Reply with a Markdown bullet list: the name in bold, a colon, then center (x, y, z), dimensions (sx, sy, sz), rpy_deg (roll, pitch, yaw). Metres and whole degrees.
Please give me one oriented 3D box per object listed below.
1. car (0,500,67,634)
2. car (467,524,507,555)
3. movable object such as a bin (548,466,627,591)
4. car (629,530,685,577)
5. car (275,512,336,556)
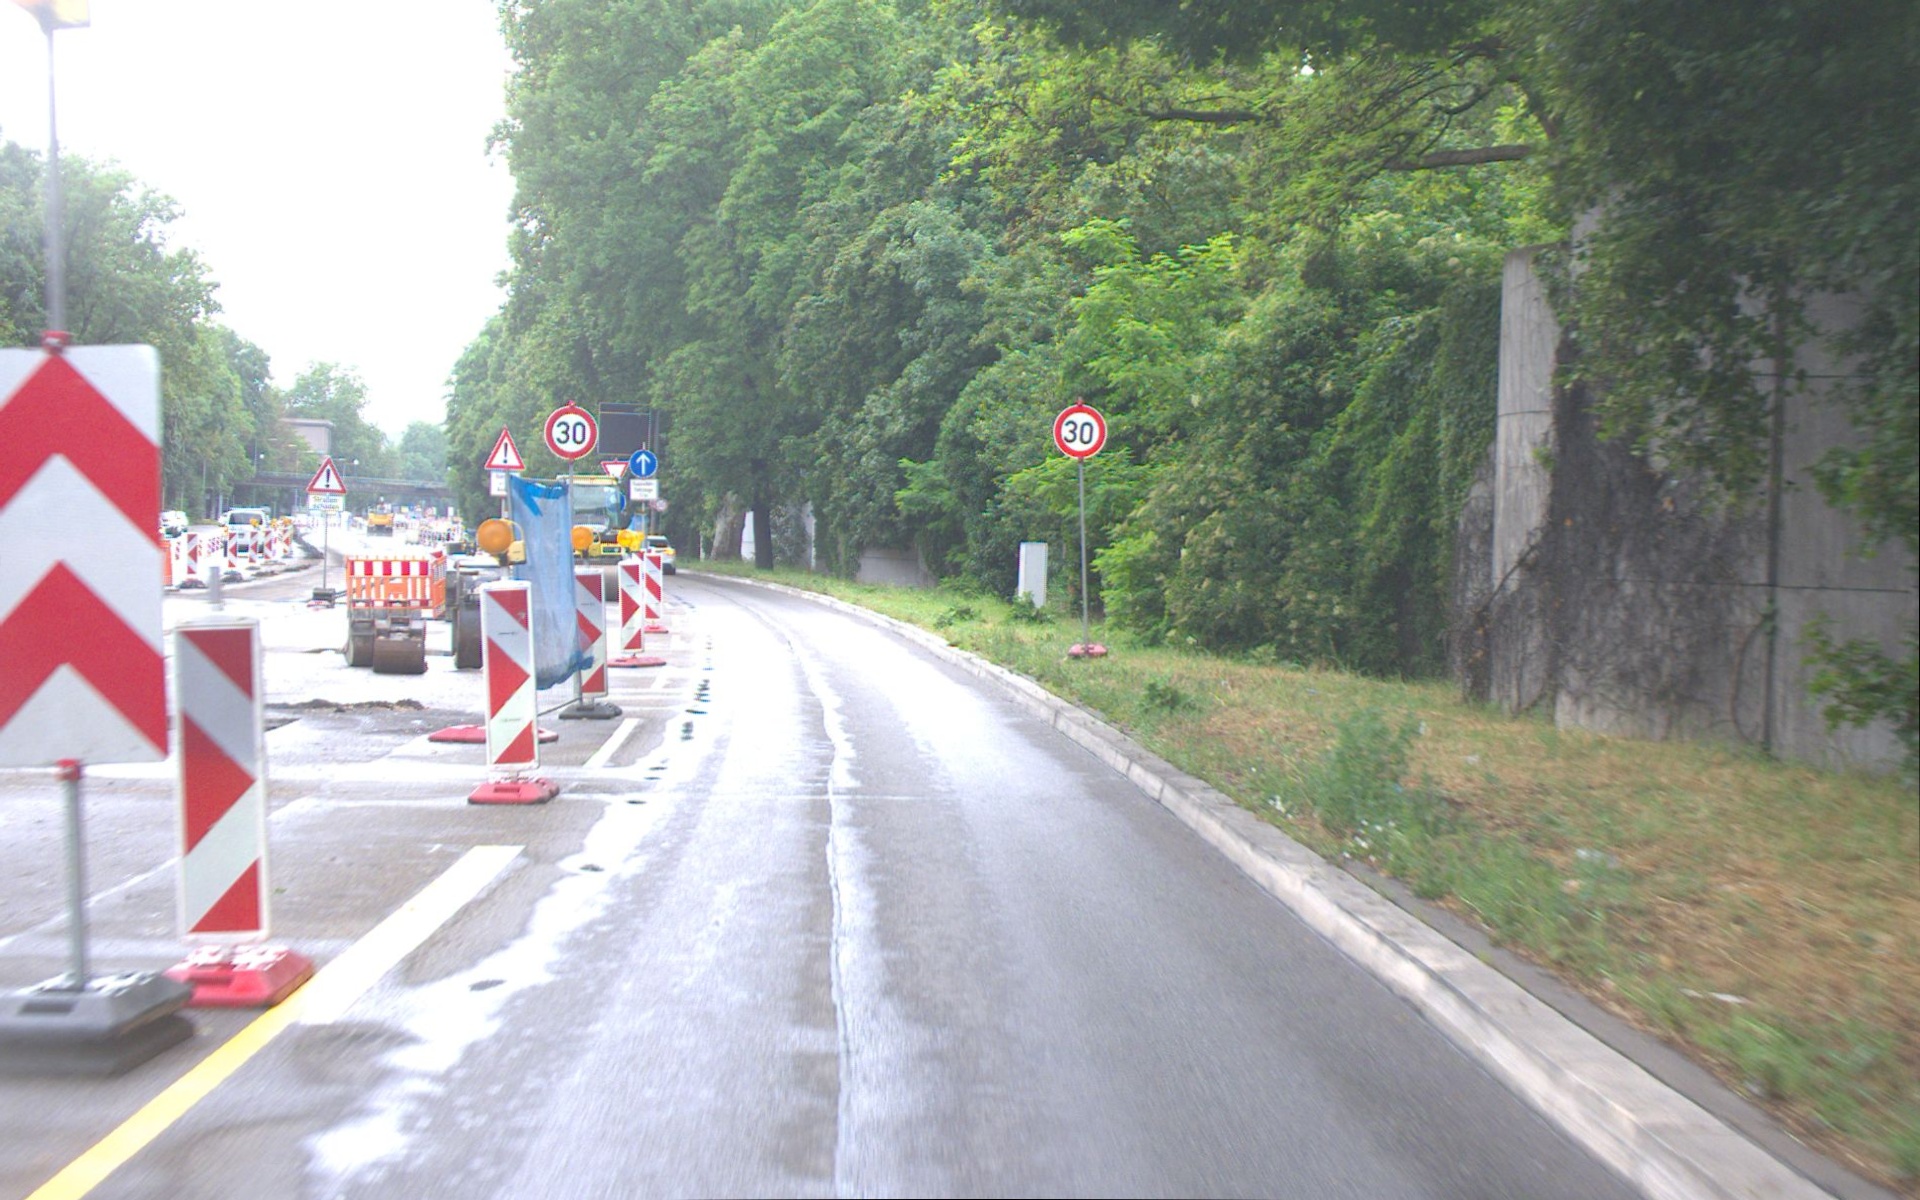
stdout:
- **car**: center (-12.865, -0.486, 44.506), dimensions (1.862, 1.486, 4.002), rpy_deg (3, 3, -6)
- **car**: center (-27.297, -3.482, 198.446), dimensions (1.875, 1.612, 4.001), rpy_deg (4, 1, -4)
- **movable object such as a bin**: center (-8.776, -1.681, 81.180), dimensions (1.746, 2.857, 3.535), rpy_deg (1, 1, -5)
- **car**: center (-11.268, -1.750, 128.268), dimensions (1.914, 1.592, 4.835), rpy_deg (2, 2, -4)
- **car**: center (-28.106, -2.821, 147.783), dimensions (1.927, 1.772, 4.653), rpy_deg (2, 1, -4)
